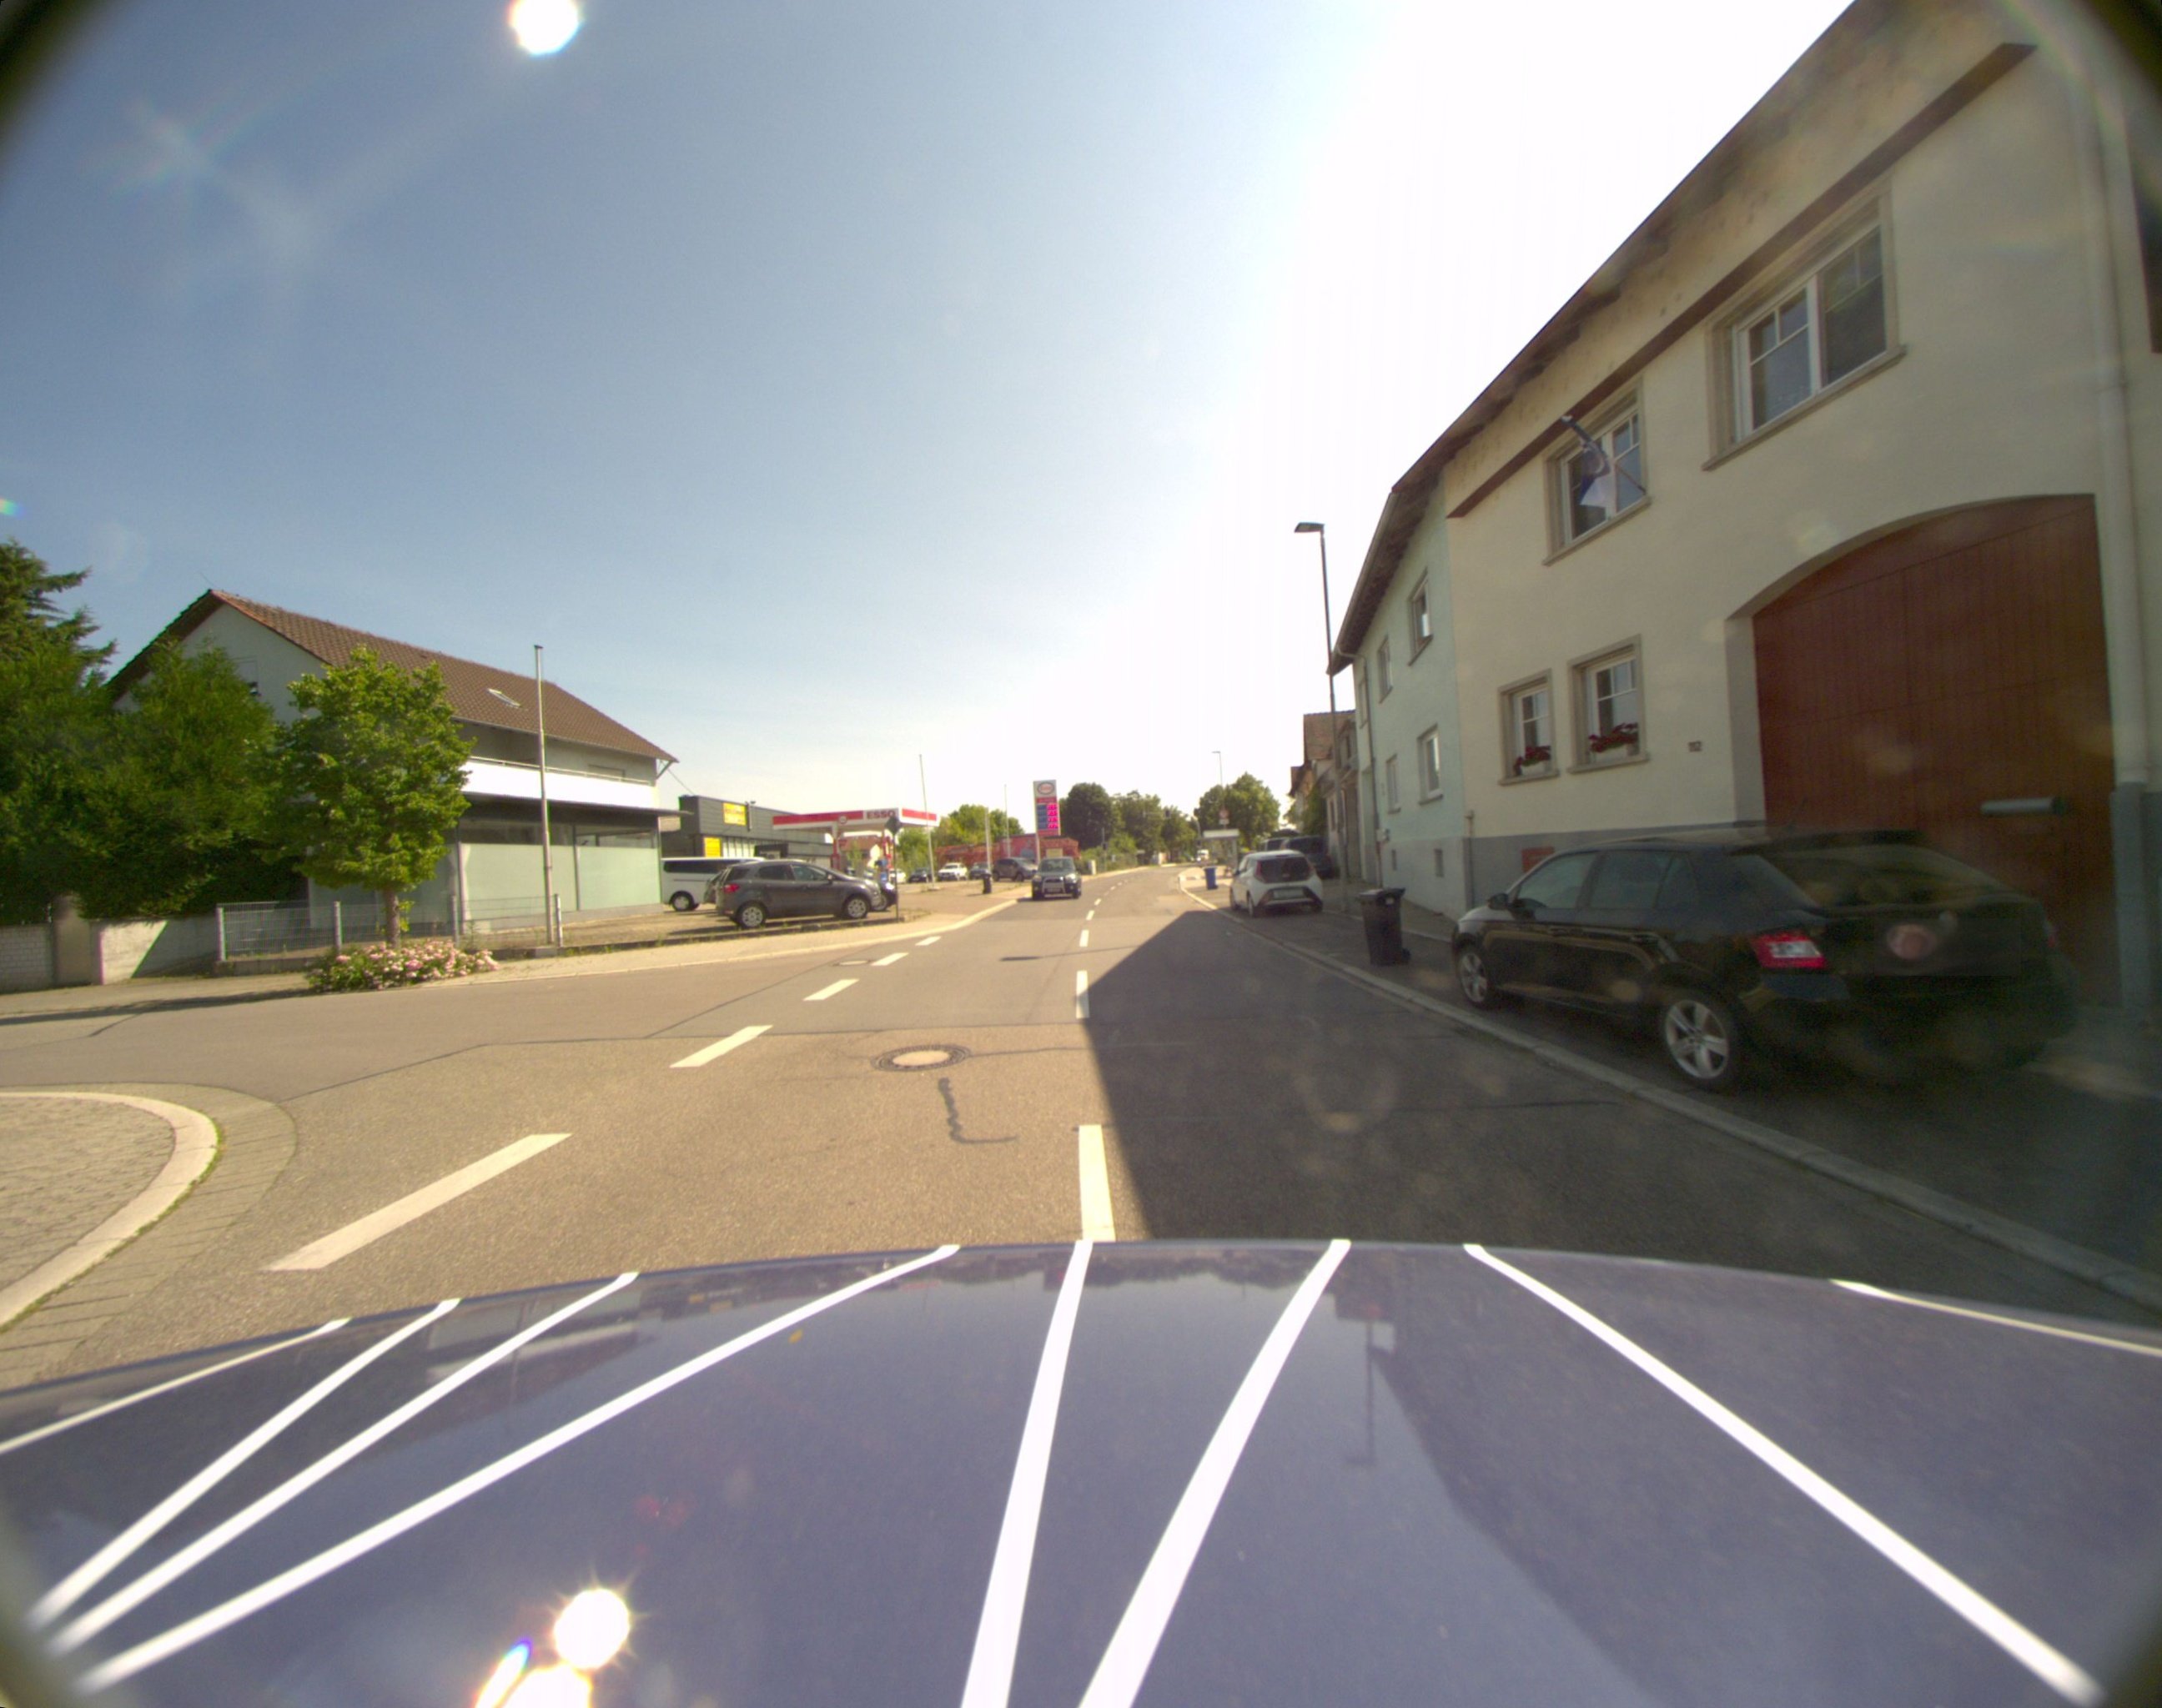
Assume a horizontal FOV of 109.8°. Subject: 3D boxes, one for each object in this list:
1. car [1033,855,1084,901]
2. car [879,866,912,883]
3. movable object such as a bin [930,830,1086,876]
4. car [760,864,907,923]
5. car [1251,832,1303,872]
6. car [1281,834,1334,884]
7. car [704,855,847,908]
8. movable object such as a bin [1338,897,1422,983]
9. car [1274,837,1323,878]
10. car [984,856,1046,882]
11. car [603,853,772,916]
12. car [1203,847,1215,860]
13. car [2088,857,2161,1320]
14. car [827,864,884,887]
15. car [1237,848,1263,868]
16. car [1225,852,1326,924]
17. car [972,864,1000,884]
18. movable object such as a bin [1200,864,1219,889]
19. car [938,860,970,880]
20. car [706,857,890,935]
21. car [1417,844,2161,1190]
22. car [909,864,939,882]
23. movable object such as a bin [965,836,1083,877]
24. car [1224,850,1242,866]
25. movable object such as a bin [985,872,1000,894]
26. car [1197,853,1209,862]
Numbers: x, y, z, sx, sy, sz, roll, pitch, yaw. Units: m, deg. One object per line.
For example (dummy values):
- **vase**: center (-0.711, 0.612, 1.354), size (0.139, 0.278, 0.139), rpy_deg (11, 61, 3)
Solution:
- **car**: center (-0.841, 0.927, 30.534), size (1.849, 1.686, 4.399), rpy_deg (0, -1, 1)
- **car**: center (-17.418, 1.879, 71.483), size (1.845, 1.379, 4.376), rpy_deg (-3, 0, 2)
- **movable object such as a bin**: center (-7.698, -0.100, 80.648), size (16.084, 3.995, 2.775), rpy_deg (-3, 0, 7)
- **car**: center (-7.325, 1.117, 22.485), size (3.878, 1.438, 1.748), rpy_deg (-3, 0, -26)
- **car**: center (11.642, -0.160, 45.452), size (2.130, 1.974, 5.267), rpy_deg (-8, 0, 7)
- **car**: center (9.527, 0.164, 32.032), size (1.839, 1.782, 4.347), rpy_deg (-6, -1, 16)
- **car**: center (-10.558, 0.907, 26.271), size (4.323, 1.541, 1.980), rpy_deg (-3, 0, -29)
- **movable object such as a bin**: center (3.710, 1.054, 9.479), size (0.553, 0.923, 0.825), rpy_deg (-8, 0, -6)
- **car**: center (10.533, 0.120, 37.091), size (1.971, 1.764, 4.280), rpy_deg (-4, 0, 13)
- **car**: center (-4.412, 0.987, 50.412), size (1.778, 1.546, 4.171), rpy_deg (-3, 0, -44)
- **car**: center (-14.589, 1.079, 28.586), size (5.290, 2.002, 2.228), rpy_deg (-3, 0, -18)
- **car**: center (27.107, -0.096, 160.869), size (1.936, 2.488, 5.843), rpy_deg (-3, 0, 14)
- **car**: center (4.296, 0.708, 0.688), size (1.645, 1.492, 3.781), rpy_deg (-5, 0, -1)
- **car**: center (-19.039, 1.793, 64.184), size (4.150, 1.624, 1.812), rpy_deg (-3, 0, 4)
- **car**: center (13.572, 0.346, 61.330), size (1.718, 1.444, 3.918), rpy_deg (-4, -1, 9)
- **car**: center (4.601, 0.745, 18.465), size (1.687, 1.453, 3.650), rpy_deg (-4, 0, 5)
- **car**: center (-8.811, 1.839, 70.878), size (1.845, 1.583, 4.106), rpy_deg (-3, 0, 2)
- **movable object such as a bin**: center (5.271, 0.916, 31.174), size (0.559, 0.931, 0.514), rpy_deg (-5, 0, -2)
- **car**: center (-11.829, 1.461, 71.026), size (2.003, 1.583, 4.338), rpy_deg (-3, 0, 2)
- **car**: center (-7.210, 1.006, 19.420), size (4.120, 1.643, 1.827), rpy_deg (-3, 0, -29)
- **car**: center (4.253, 0.747, 5.524), size (1.683, 1.429, 3.995), rpy_deg (-6, 0, -1)
- **car**: center (-14.607, 1.752, 70.843), size (1.845, 1.379, 4.000), rpy_deg (-3, 0, 2)
- **movable object such as a bin**: center (-6.663, 0.318, 89.398), size (13.280, 4.141, 2.864), rpy_deg (-3, 0, 7)
- **car**: center (15.769, 0.414, 78.650), size (1.717, 1.399, 4.400), rpy_deg (-2, 1, 11)
- **movable object such as a bin**: center (-3.926, 1.302, 33.800), size (0.559, 0.931, 0.514), rpy_deg (-3, 0, -2)
- **car**: center (23.833, 0.669, 147.919), size (1.844, 1.583, 4.110), rpy_deg (-3, 0, 14)
